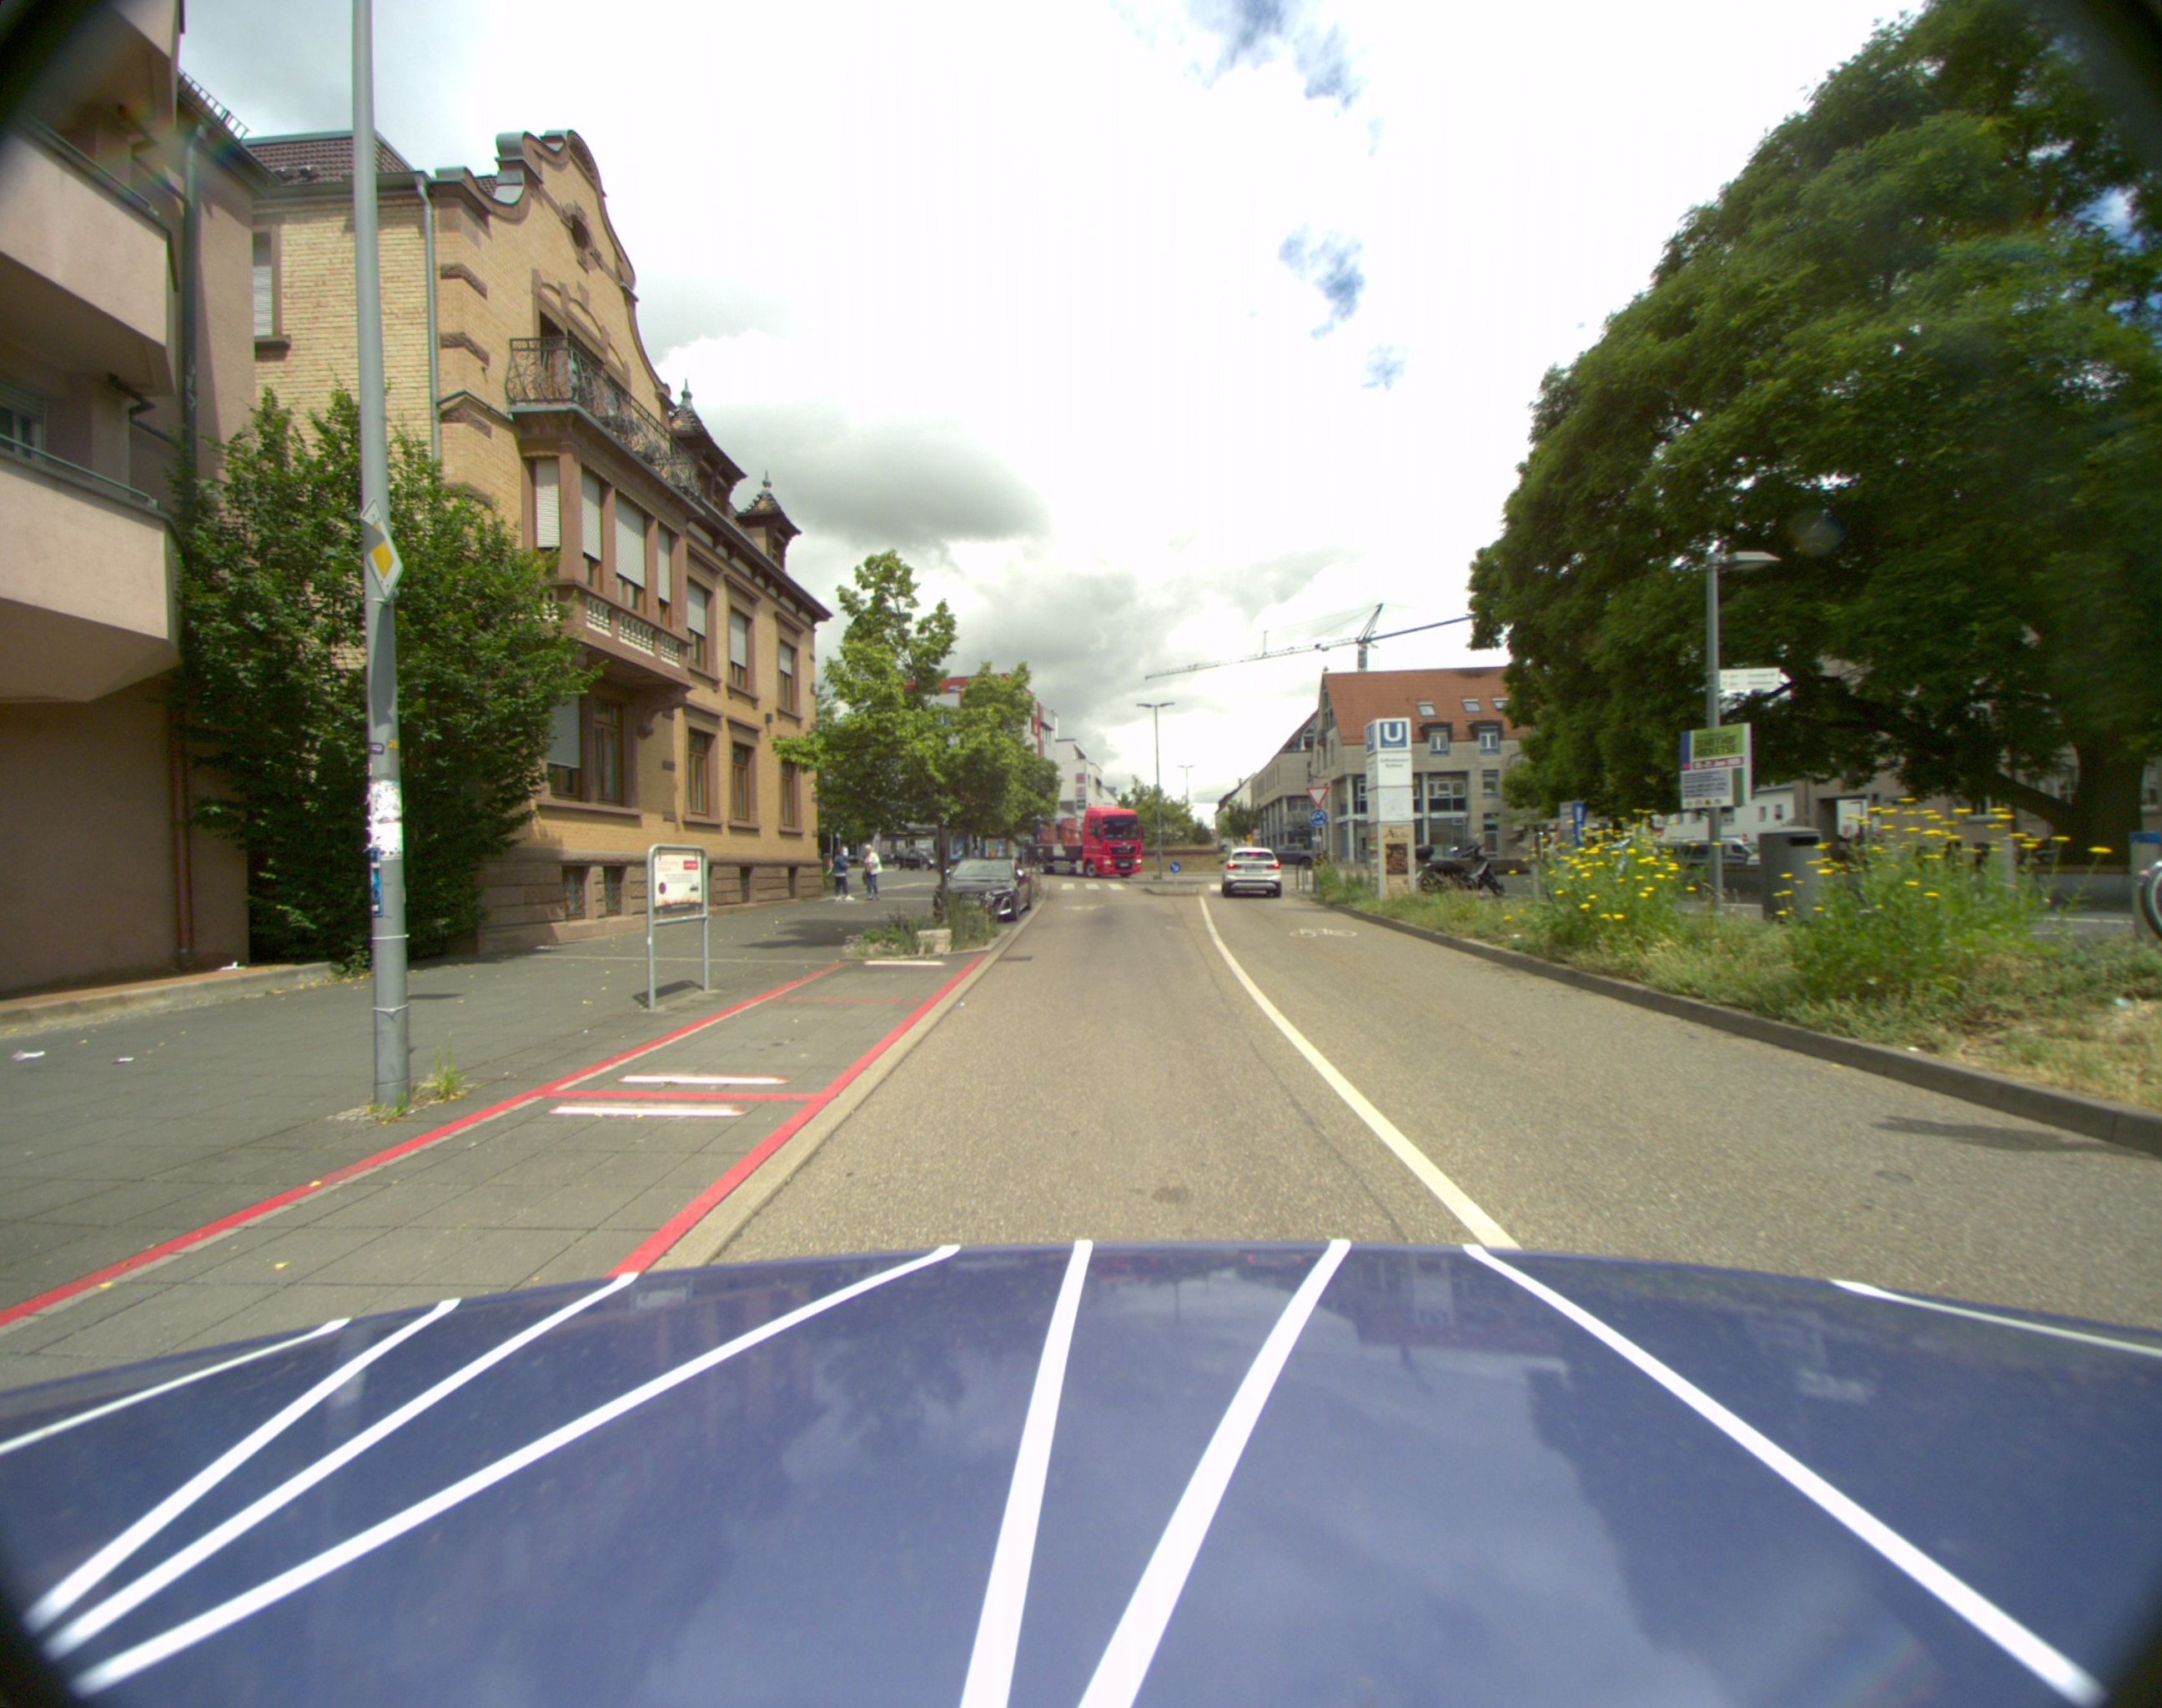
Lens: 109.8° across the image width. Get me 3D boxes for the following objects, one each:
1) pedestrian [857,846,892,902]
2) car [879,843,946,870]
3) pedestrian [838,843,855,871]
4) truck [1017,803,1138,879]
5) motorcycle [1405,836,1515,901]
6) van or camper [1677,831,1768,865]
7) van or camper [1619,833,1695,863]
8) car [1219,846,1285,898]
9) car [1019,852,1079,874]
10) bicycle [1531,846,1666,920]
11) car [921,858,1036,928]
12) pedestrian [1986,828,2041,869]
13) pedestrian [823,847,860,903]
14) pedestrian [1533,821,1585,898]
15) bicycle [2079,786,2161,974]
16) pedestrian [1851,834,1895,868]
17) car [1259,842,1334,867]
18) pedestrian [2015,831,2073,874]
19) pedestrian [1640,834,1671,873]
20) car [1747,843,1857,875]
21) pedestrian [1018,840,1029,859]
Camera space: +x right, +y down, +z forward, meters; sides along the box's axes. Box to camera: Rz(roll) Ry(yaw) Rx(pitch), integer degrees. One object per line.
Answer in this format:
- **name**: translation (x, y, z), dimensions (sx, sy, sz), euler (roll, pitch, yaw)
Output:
- **pedestrian**: translation (-6.317, 0.613, 23.257), dimensions (0.697, 1.649, 0.741), euler (-2, 2, 13)
- **car**: translation (-11.591, 0.153, 52.430), dimensions (3.995, 1.641, 2.001), euler (-2, 0, 8)
- **pedestrian**: translation (-14.844, 0.158, 48.097), dimensions (0.768, 1.721, 0.751), euler (-3, 2, -30)
- **truck**: translation (-0.555, -0.719, 44.442), dimensions (2.686, 3.821, 10.825), euler (-3, 2, -25)
- **motorcycle**: translation (8.684, 0.320, 17.468), dimensions (2.194, 1.441, 0.648), euler (-1, 2, 1)
- **van or camper**: translation (46.992, -0.395, 55.802), dimensions (2.002, 2.368, 4.667), euler (-2, 0, -22)
- **van or camper**: translation (47.377, -0.446, 62.612), dimensions (2.002, 2.368, 4.667), euler (-2, 0, -22)
- **car**: translation (5.629, 0.537, 25.372), dimensions (1.826, 1.575, 4.167), euler (0, 1, 8)
- **car**: translation (-2.313, 0.610, 55.491), dimensions (4.060, 1.391, 1.812), euler (-3, 2, -37)
- **bicycle**: translation (7.853, 0.433, 11.560), dimensions (1.690, 1.075, 0.515), euler (-1, -1, -2)
- **car**: translation (-2.331, 0.844, 18.596), dimensions (1.998, 1.405, 4.736), euler (-1, 1, 2)
- **pedestrian**: translation (28.783, -0.164, 23.457), dimensions (0.817, 1.219, 0.691), euler (-2, -1, -3)
- **pedestrian**: translation (-7.220, 0.636, 22.937), dimensions (0.738, 1.630, 0.676), euler (-1, 2, 27)
- **pedestrian**: translation (10.441, 0.123, 16.629), dimensions (0.661, 1.619, 0.800), euler (-2, -1, 9)
- **bicycle**: translation (7.211, 0.144, 4.611), dimensions (1.550, 1.121, 0.533), euler (-1, 0, 2)
- **pedestrian**: translation (28.629, -0.099, 27.480), dimensions (0.817, 1.168, 0.691), euler (-2, -1, -3)
- **car**: translation (15.655, 0.024, 55.334), dimensions (4.878, 1.644, 1.750), euler (-1, 2, 34)
- **pedestrian**: translation (28.798, -0.038, 22.724), dimensions (0.817, 1.219, 0.691), euler (-2, -1, -3)
- **pedestrian**: translation (24.893, -0.004, 32.938), dimensions (0.690, 1.665, 0.817), euler (-2, -1, -1)
- **car**: translation (39.324, 0.277, 41.514), dimensions (4.069, 1.530, 1.747), euler (-2, 2, 9)
- **pedestrian**: translation (-4.935, -0.361, 64.899), dimensions (0.684, 1.585, 0.767), euler (-2, 2, 11)
